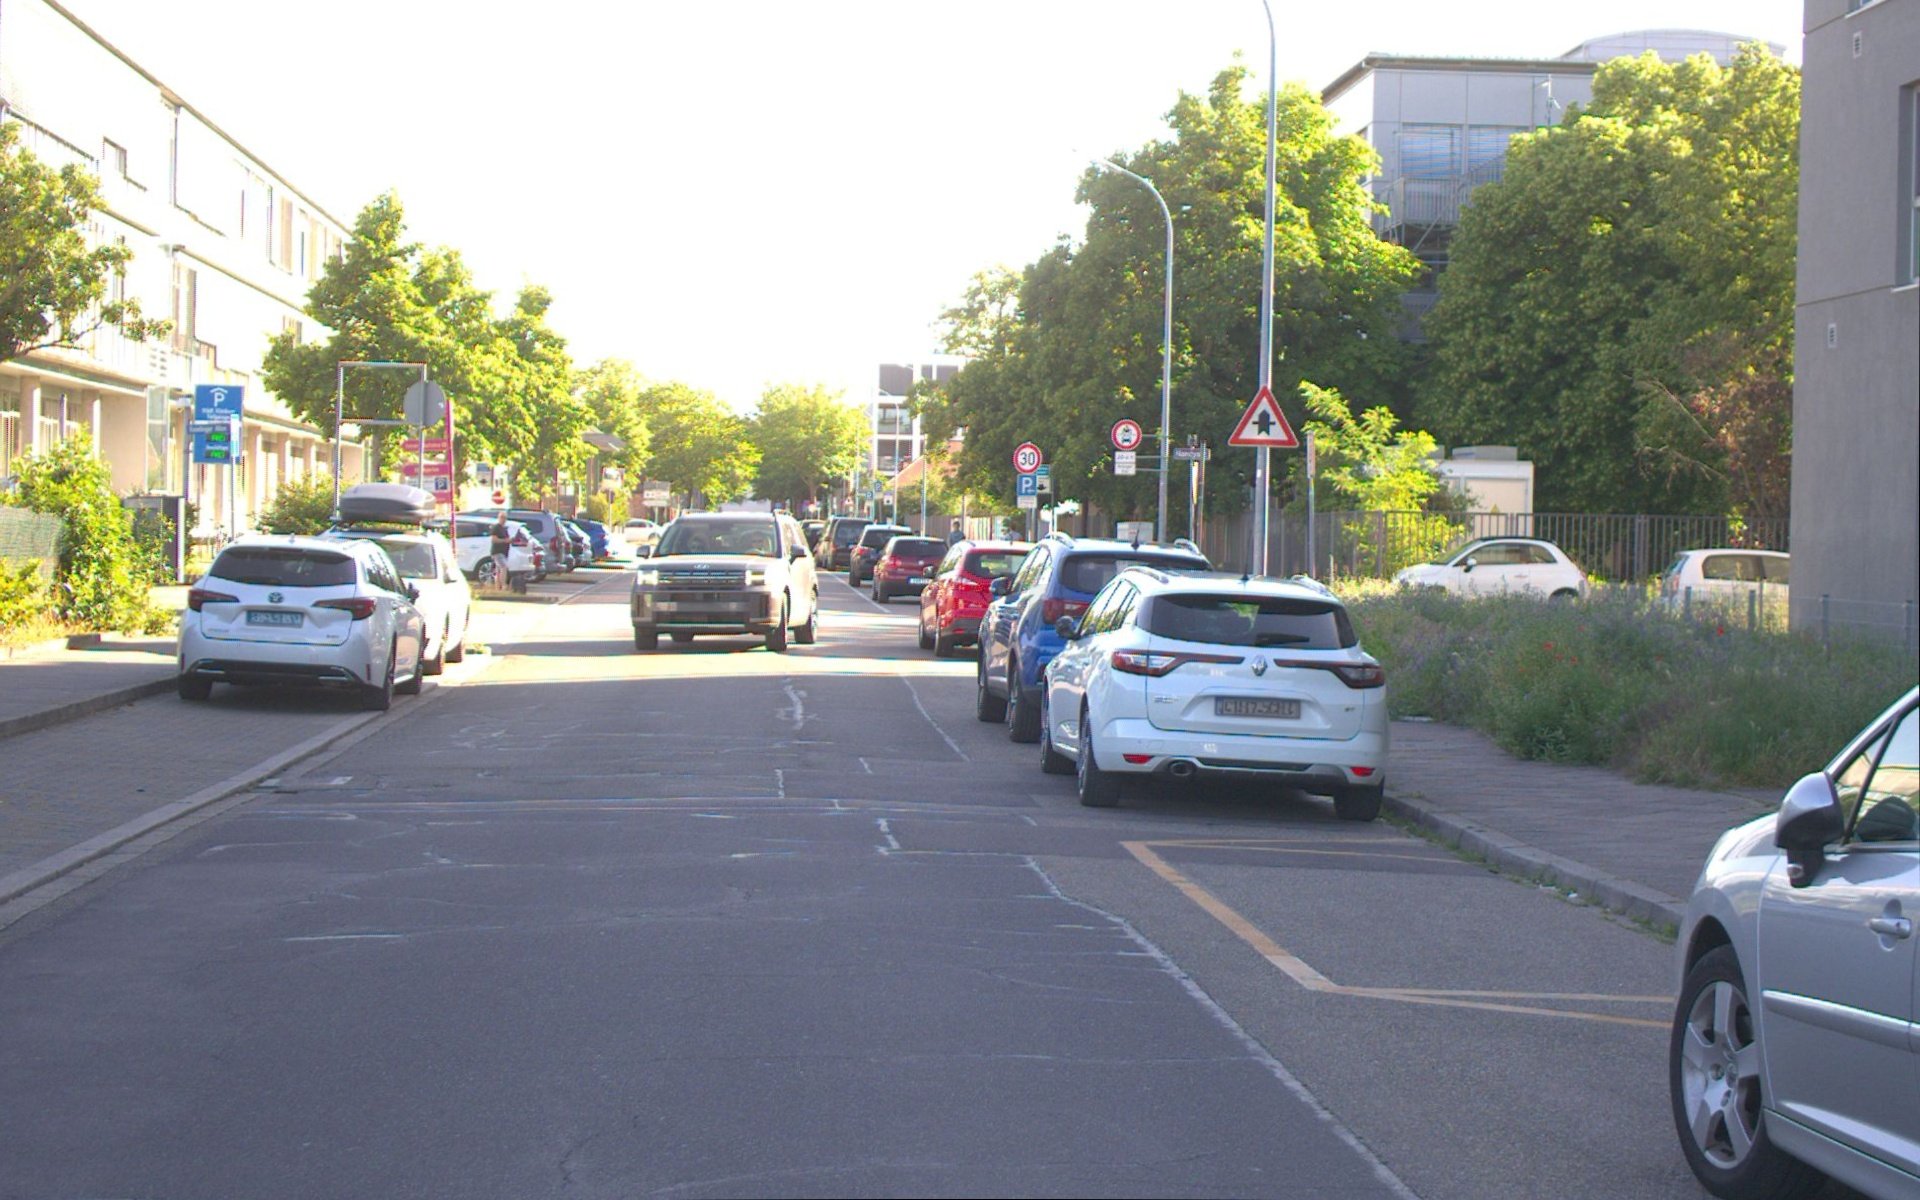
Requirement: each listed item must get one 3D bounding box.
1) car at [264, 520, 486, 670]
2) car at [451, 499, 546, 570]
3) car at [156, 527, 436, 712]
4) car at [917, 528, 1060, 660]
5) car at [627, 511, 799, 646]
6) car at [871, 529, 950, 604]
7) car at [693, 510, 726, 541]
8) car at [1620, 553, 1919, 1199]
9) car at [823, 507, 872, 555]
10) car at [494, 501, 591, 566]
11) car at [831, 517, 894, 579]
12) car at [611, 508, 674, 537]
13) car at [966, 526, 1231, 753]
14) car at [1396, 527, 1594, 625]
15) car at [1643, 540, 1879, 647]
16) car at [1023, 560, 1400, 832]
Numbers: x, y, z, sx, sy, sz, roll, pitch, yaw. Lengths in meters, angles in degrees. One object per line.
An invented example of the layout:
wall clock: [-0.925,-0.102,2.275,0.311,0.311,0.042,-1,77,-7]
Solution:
car: [-6.170,-0.094,36.683,1.854,1.423,4.135,3,1,-4]
car: [-10.873,-1.551,81.188,1.854,1.558,4.135,3,1,-4]
car: [-5.751,0.117,30.222,1.854,1.423,4.135,3,1,-4]
car: [0.325,-0.113,44.020,1.445,1.544,3.615,3,1,-4]
car: [-3.103,-0.297,43.861,1.844,1.541,4.194,3,1,0]
car: [-1.119,-0.760,76.205,1.445,1.544,3.615,3,1,-4]
car: [-13.305,-3.931,182.518,1.663,1.544,3.903,3,1,-4]
car: [2.642,0.737,6.728,1.657,1.546,3.851,3,1,-4]
car: [-3.871,-2.362,117.512,1.445,1.544,3.615,3,1,-4]
car: [-10.837,-1.728,89.486,1.854,1.558,4.134,3,1,1]
car: [-2.623,-1.408,92.083,1.445,1.544,3.615,3,1,-4]
car: [-18.854,-4.624,204.263,3.601,1.544,1.450,3,1,-8]
car: [1.043,0.257,27.625,1.632,1.625,3.615,3,1,-4]
car: [9.470,-0.430,60.996,3.216,1.544,1.450,3,1,0]
car: [12.312,-0.109,52.957,3.216,1.455,1.450,3,1,0]
car: [1.474,0.526,21.633,1.741,1.423,4.135,3,1,-4]
